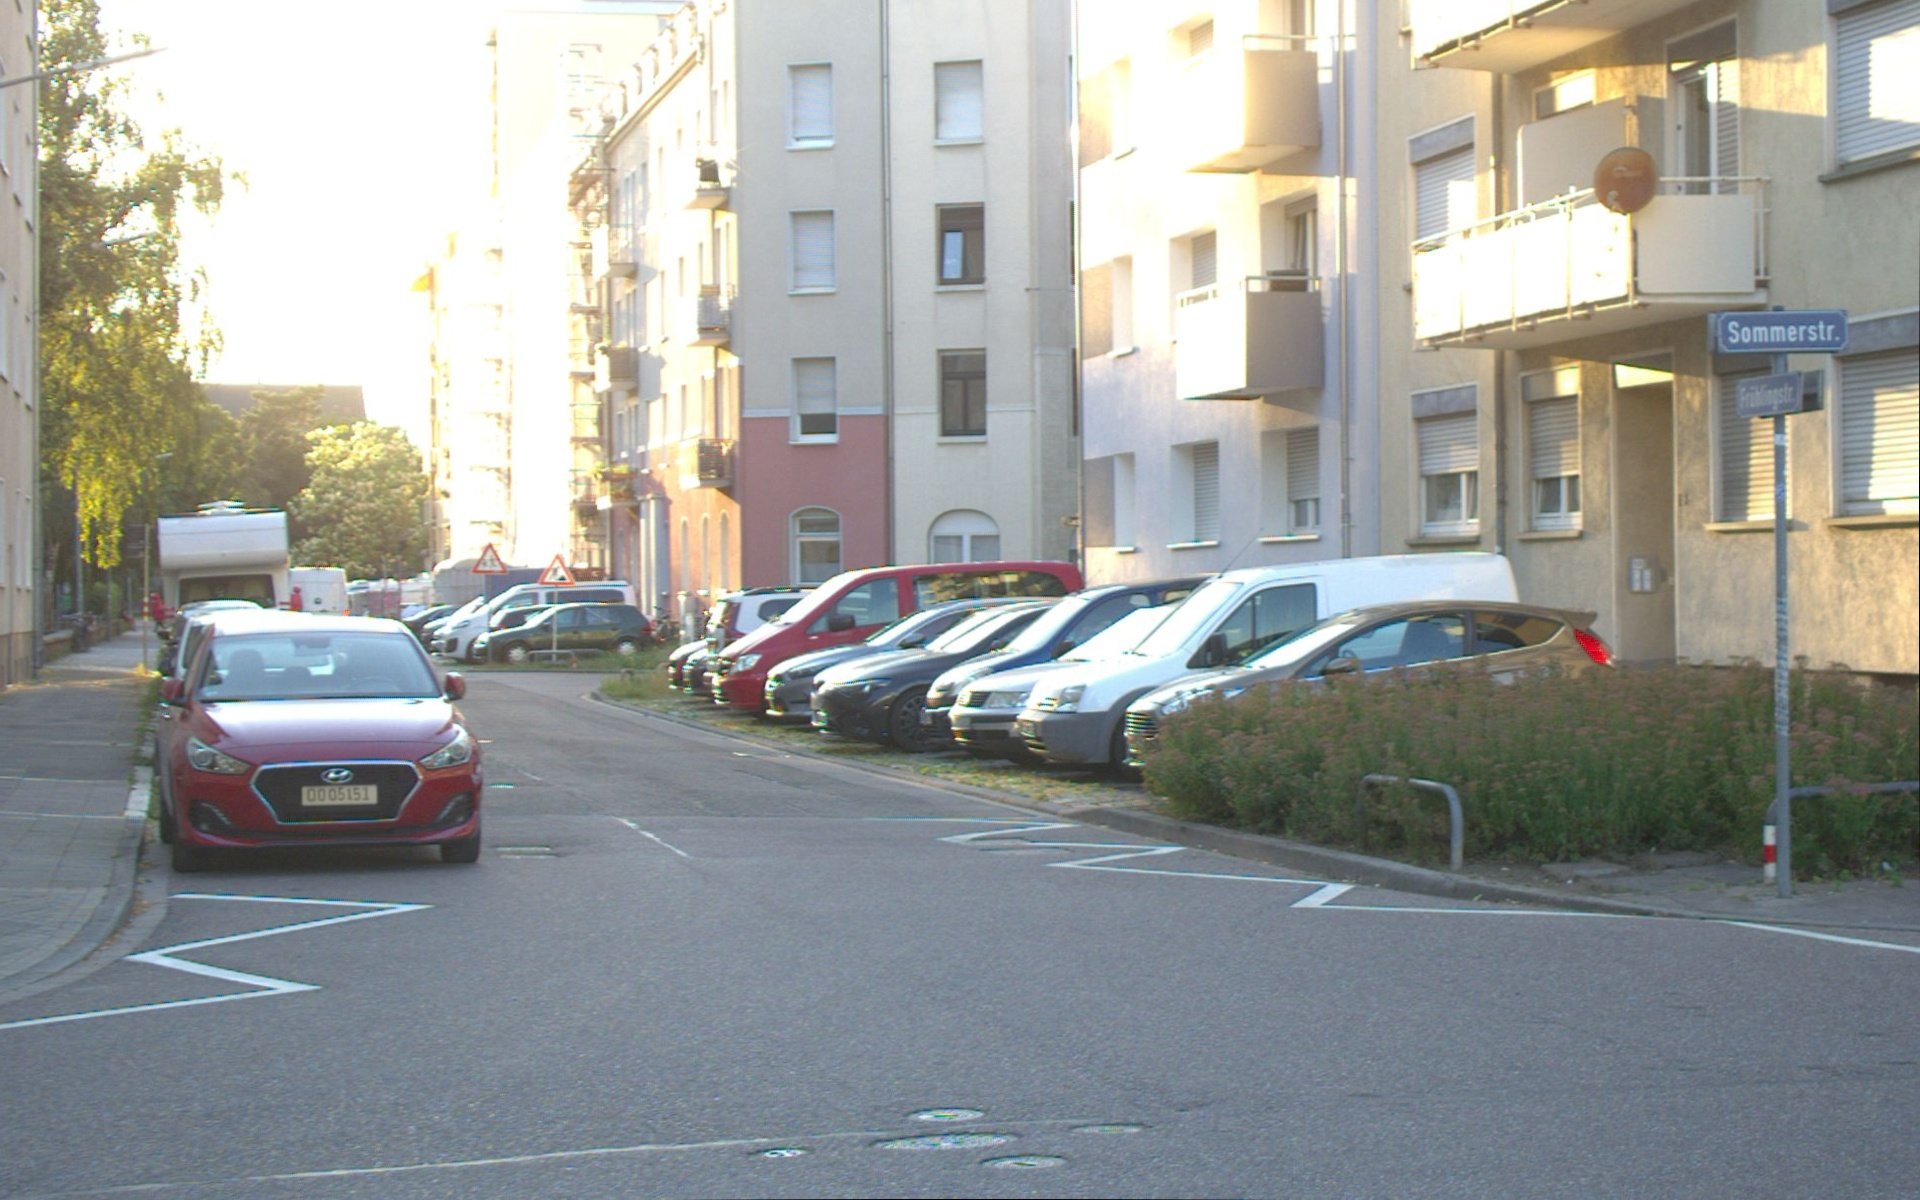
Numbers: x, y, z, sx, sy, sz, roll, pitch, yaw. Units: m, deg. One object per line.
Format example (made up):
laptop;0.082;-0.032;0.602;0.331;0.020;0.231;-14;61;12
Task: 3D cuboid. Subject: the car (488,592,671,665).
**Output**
car;-8.770;0.651;79.096;3.986;1.525;1.659;-2;0;-13

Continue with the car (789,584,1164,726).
car;0.170;0.605;38.656;3.874;1.411;1.637;-2;0;-14

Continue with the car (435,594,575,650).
car;-13.608;0.653;102.770;3.986;1.525;1.659;-2;0;-13

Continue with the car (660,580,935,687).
car;-2.438;0.491;51.236;3.810;1.423;1.635;-2;0;-13

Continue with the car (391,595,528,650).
car;-15.291;0.683;104.928;3.986;1.525;1.659;-2;0;-13

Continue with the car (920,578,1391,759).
car;1.754;0.598;31.348;3.954;1.517;1.706;-1;0;-12

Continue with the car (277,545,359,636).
car;-20.027;-0.294;107.155;2.128;2.708;4.834;-2;0;-14

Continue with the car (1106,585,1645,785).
car;3.264;0.644;27.292;3.871;1.487;1.742;-1;0;-12

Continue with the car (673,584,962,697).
car;-2.036;0.562;48.744;3.810;1.423;1.635;-2;0;-13

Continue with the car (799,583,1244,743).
car;0.620;0.636;35.732;4.307;1.445;1.655;-2;0;-12

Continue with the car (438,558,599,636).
car;-11.787;-0.086;91.725;3.986;2.007;2.001;-1;0;-16

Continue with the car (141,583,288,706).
car;-9.459;0.539;43.462;1.652;1.430;3.797;-2;0;-14

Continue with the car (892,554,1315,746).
car;1.383;0.473;33.752;3.790;1.690;1.655;-2;0;-12

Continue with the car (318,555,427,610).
car;-27.342;-0.795;159.968;4.812;2.400;1.739;-2;0;-13

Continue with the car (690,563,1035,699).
car;-1.331;0.414;46.370;4.323;1.632;1.818;-2;0;-13

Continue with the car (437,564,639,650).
car;-10.540;0.168;85.789;4.812;1.961;1.739;-2;0;-13

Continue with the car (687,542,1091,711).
car;-0.931;0.329;43.553;4.721;1.903;2.060;-2;0;-13

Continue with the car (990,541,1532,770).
car;2.547;0.456;29.441;4.278;1.854;1.742;0;-1;-12

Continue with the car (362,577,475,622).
car;-20.042;-0.014;127.157;3.986;1.525;1.659;-2;0;-13

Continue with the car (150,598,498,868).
car;-4.012;0.742;21.198;1.844;1.468;4.079;-1;0;-14

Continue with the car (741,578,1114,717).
car;-0.402;0.554;41.032;4.144;1.466;1.637;-2;0;-13

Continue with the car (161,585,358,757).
car;-6.634;0.632;32.357;1.615;1.468;3.506;-2;0;-14

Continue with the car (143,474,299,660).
car;-14.045;-0.588;65.405;2.619;3.258;7.698;-2;0;-12
